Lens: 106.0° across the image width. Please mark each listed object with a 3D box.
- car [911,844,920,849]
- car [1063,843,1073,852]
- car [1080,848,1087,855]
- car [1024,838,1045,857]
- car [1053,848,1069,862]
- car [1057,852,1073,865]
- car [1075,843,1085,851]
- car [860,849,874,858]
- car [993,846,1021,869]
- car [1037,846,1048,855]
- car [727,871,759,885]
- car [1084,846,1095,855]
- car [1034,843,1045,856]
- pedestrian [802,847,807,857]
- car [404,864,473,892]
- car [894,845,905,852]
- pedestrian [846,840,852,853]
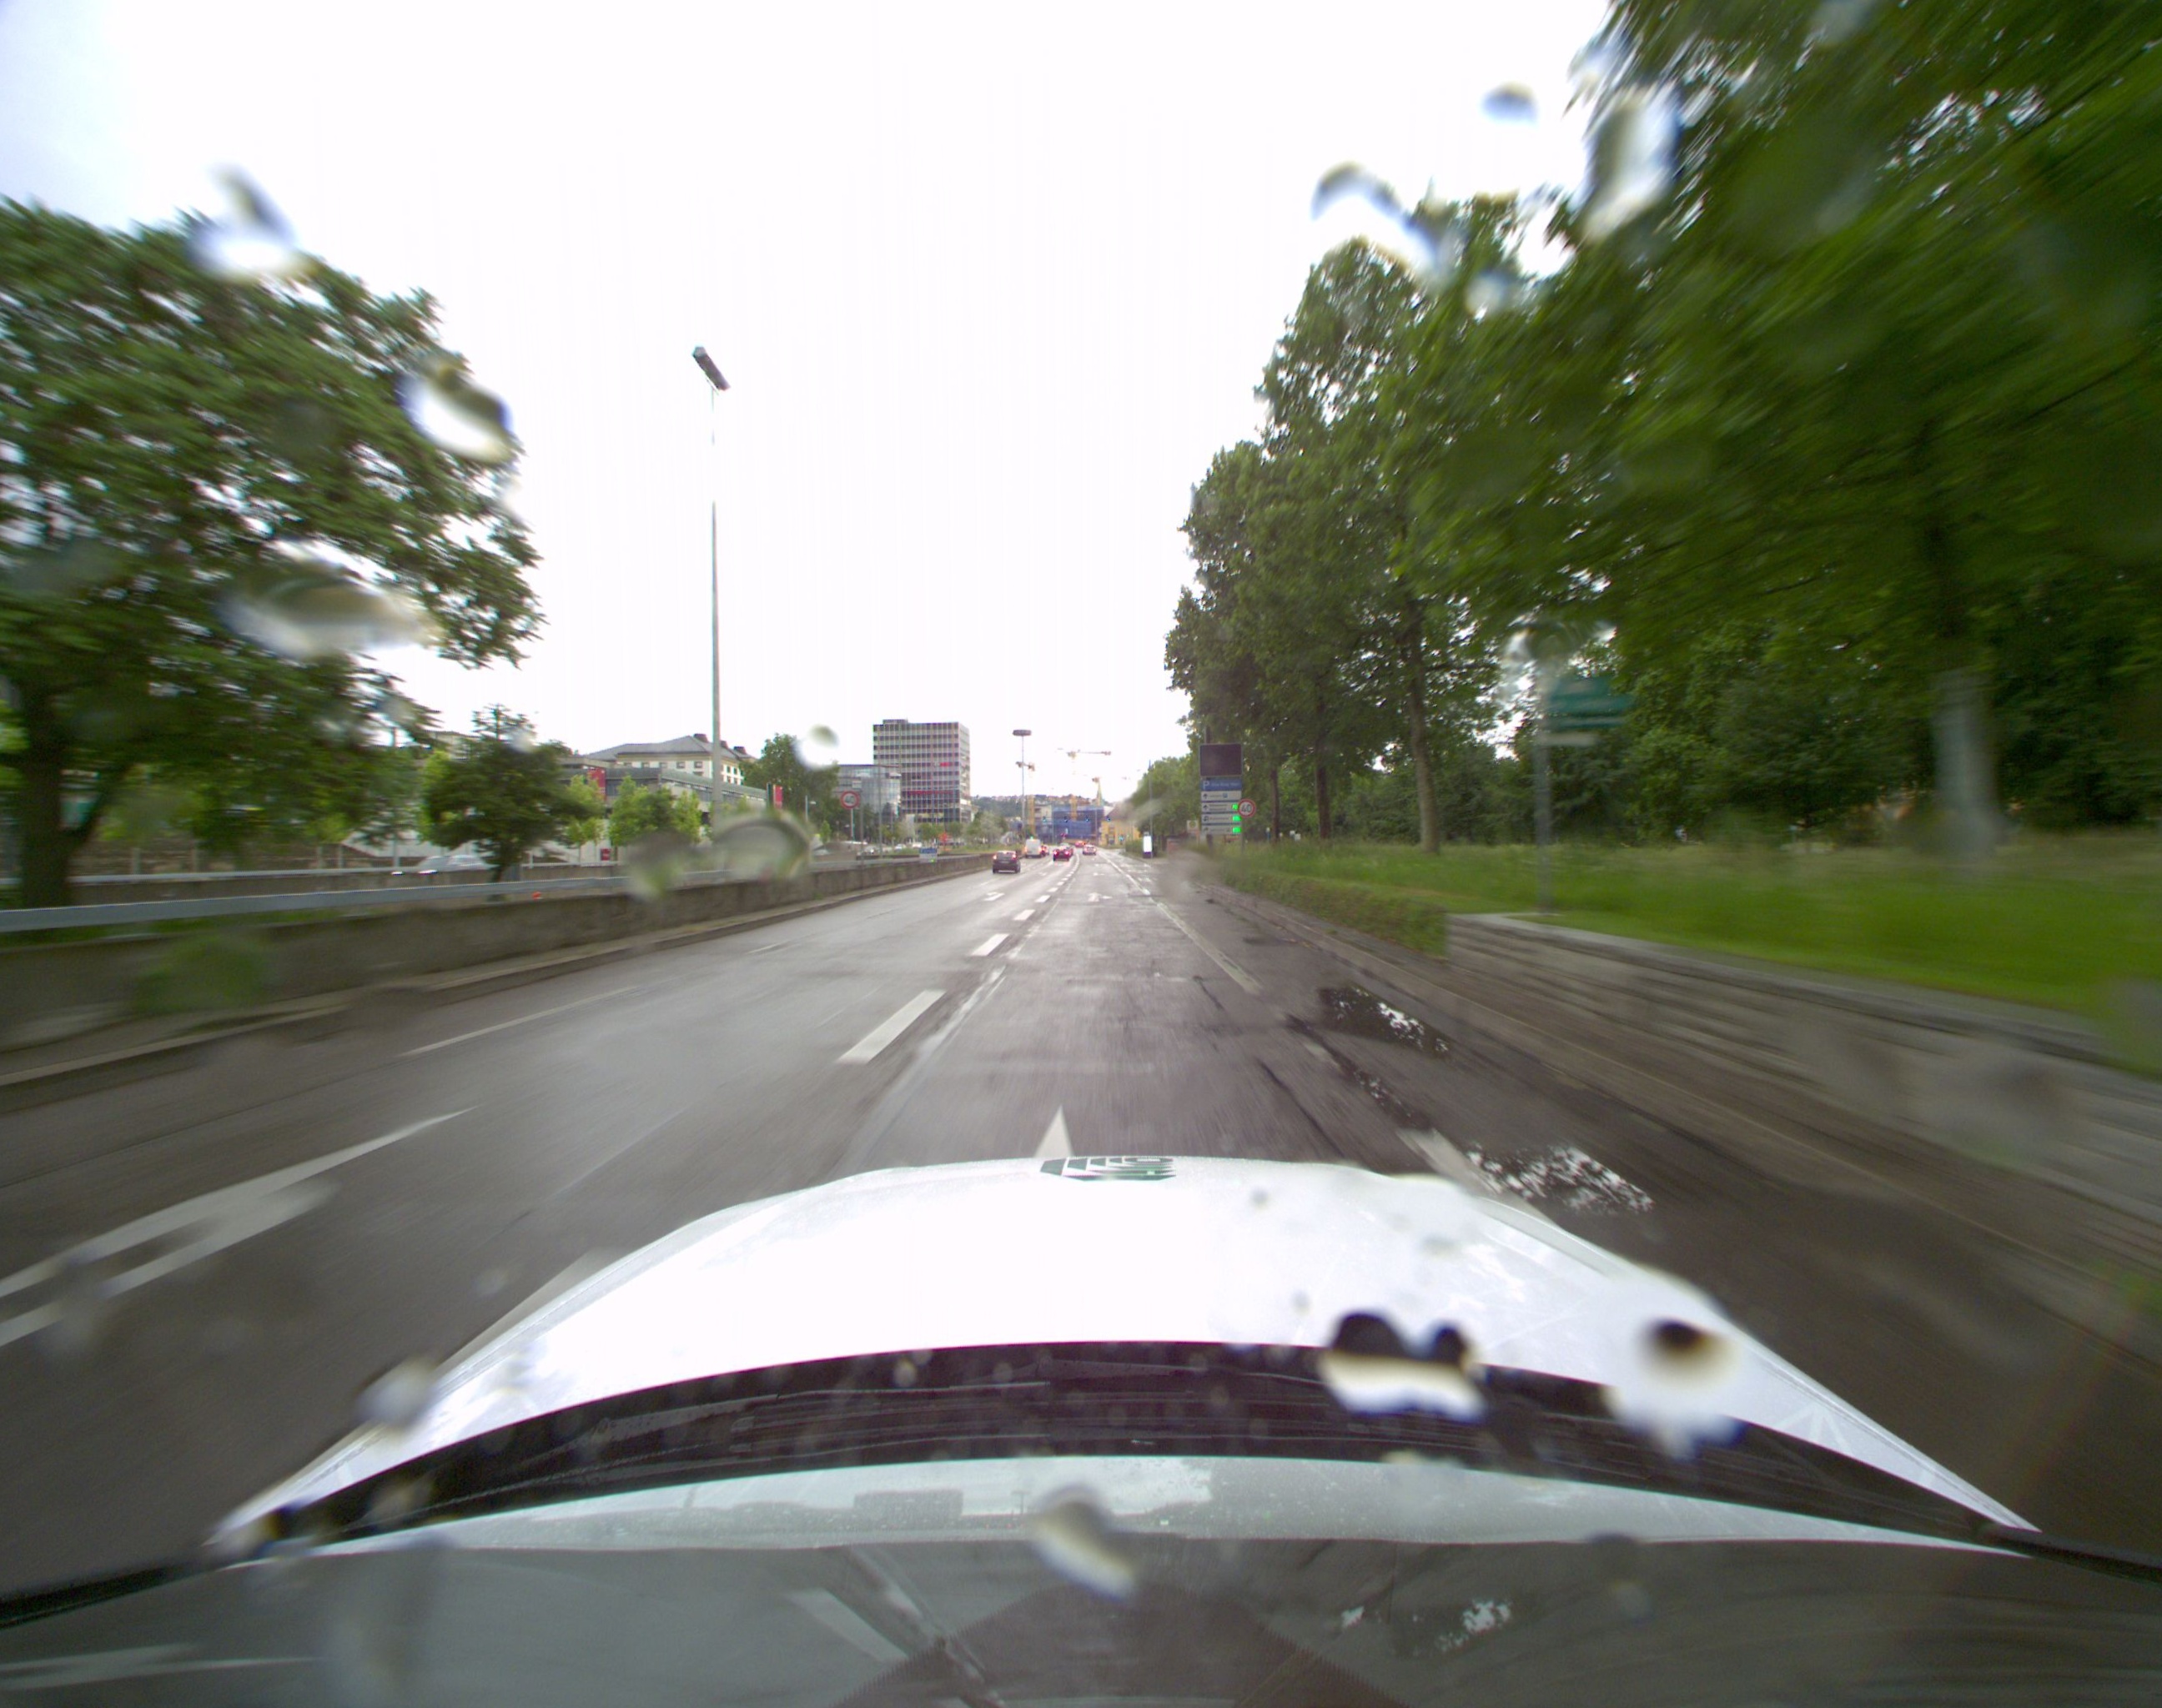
[{"bbox_3d":[-37.919,-1.704,186.629,1.436,1.114,3.019,0,0,-1],"label":"car"},{"bbox_3d":[-1.938,-0.942,119.268,1.489,1.369,3.032,0,0,-1],"label":"car"},{"bbox_3d":[0.356,-0.421,127.137,1.072,0.990,1.973,0,-1,3],"label":"car"},{"bbox_3d":[-5.880,-0.791,102.788,2.285,2.314,5.005,0,0,0],"label":"car"},{"bbox_3d":[-2.271,0.079,92.289,1.749,1.471,4.220,0,1,-2],"label":"car"},{"bbox_3d":[-2.124,0.541,107.151,1.876,1.652,3.454,0,0,-3],"label":"car"},{"bbox_3d":[-0.275,-1.581,187.966,2.153,1.879,3.773,0,0,3],"label":"car"},{"bbox_3d":[-33.546,-0.048,127.898,1.460,1.440,2.962,0,0,0],"label":"car"},{"bbox_3d":[-4.879,0.237,53.870,1.538,1.415,3.900,0,0,-1],"label":"car"},{"bbox_3d":[-5.603,-0.497,119.001,1.546,1.260,2.579,0,0,-1],"label":"car"},{"bbox_3d":[-29.264,2.035,70.568,1.483,1.129,3.049,0,0,-1],"label":"car"},{"bbox_3d":[1.264,-0.510,120.610,1.438,1.359,2.413,0,0,3],"label":"car"},{"bbox_3d":[-5.598,-0.606,109.326,1.460,1.706,3.138,0,0,-2],"label":"car"},{"bbox_3d":[-41.318,-0.285,121.550,0.464,1.383,0.578,0,-1,9],"label":"pedestrian"},{"bbox_3d":[-31.485,1.155,39.974,1.291,1.278,2.818,0,0,-5],"label":"car"},{"bbox_3d":[-37.072,-1.148,165.955,1.402,1.255,3.168,0,0,2],"label":"car"},{"bbox_3d":[-39.937,-1.321,140.217,0.767,2.090,0.724,-1,5,-11],"label":"pedestrian"}]
